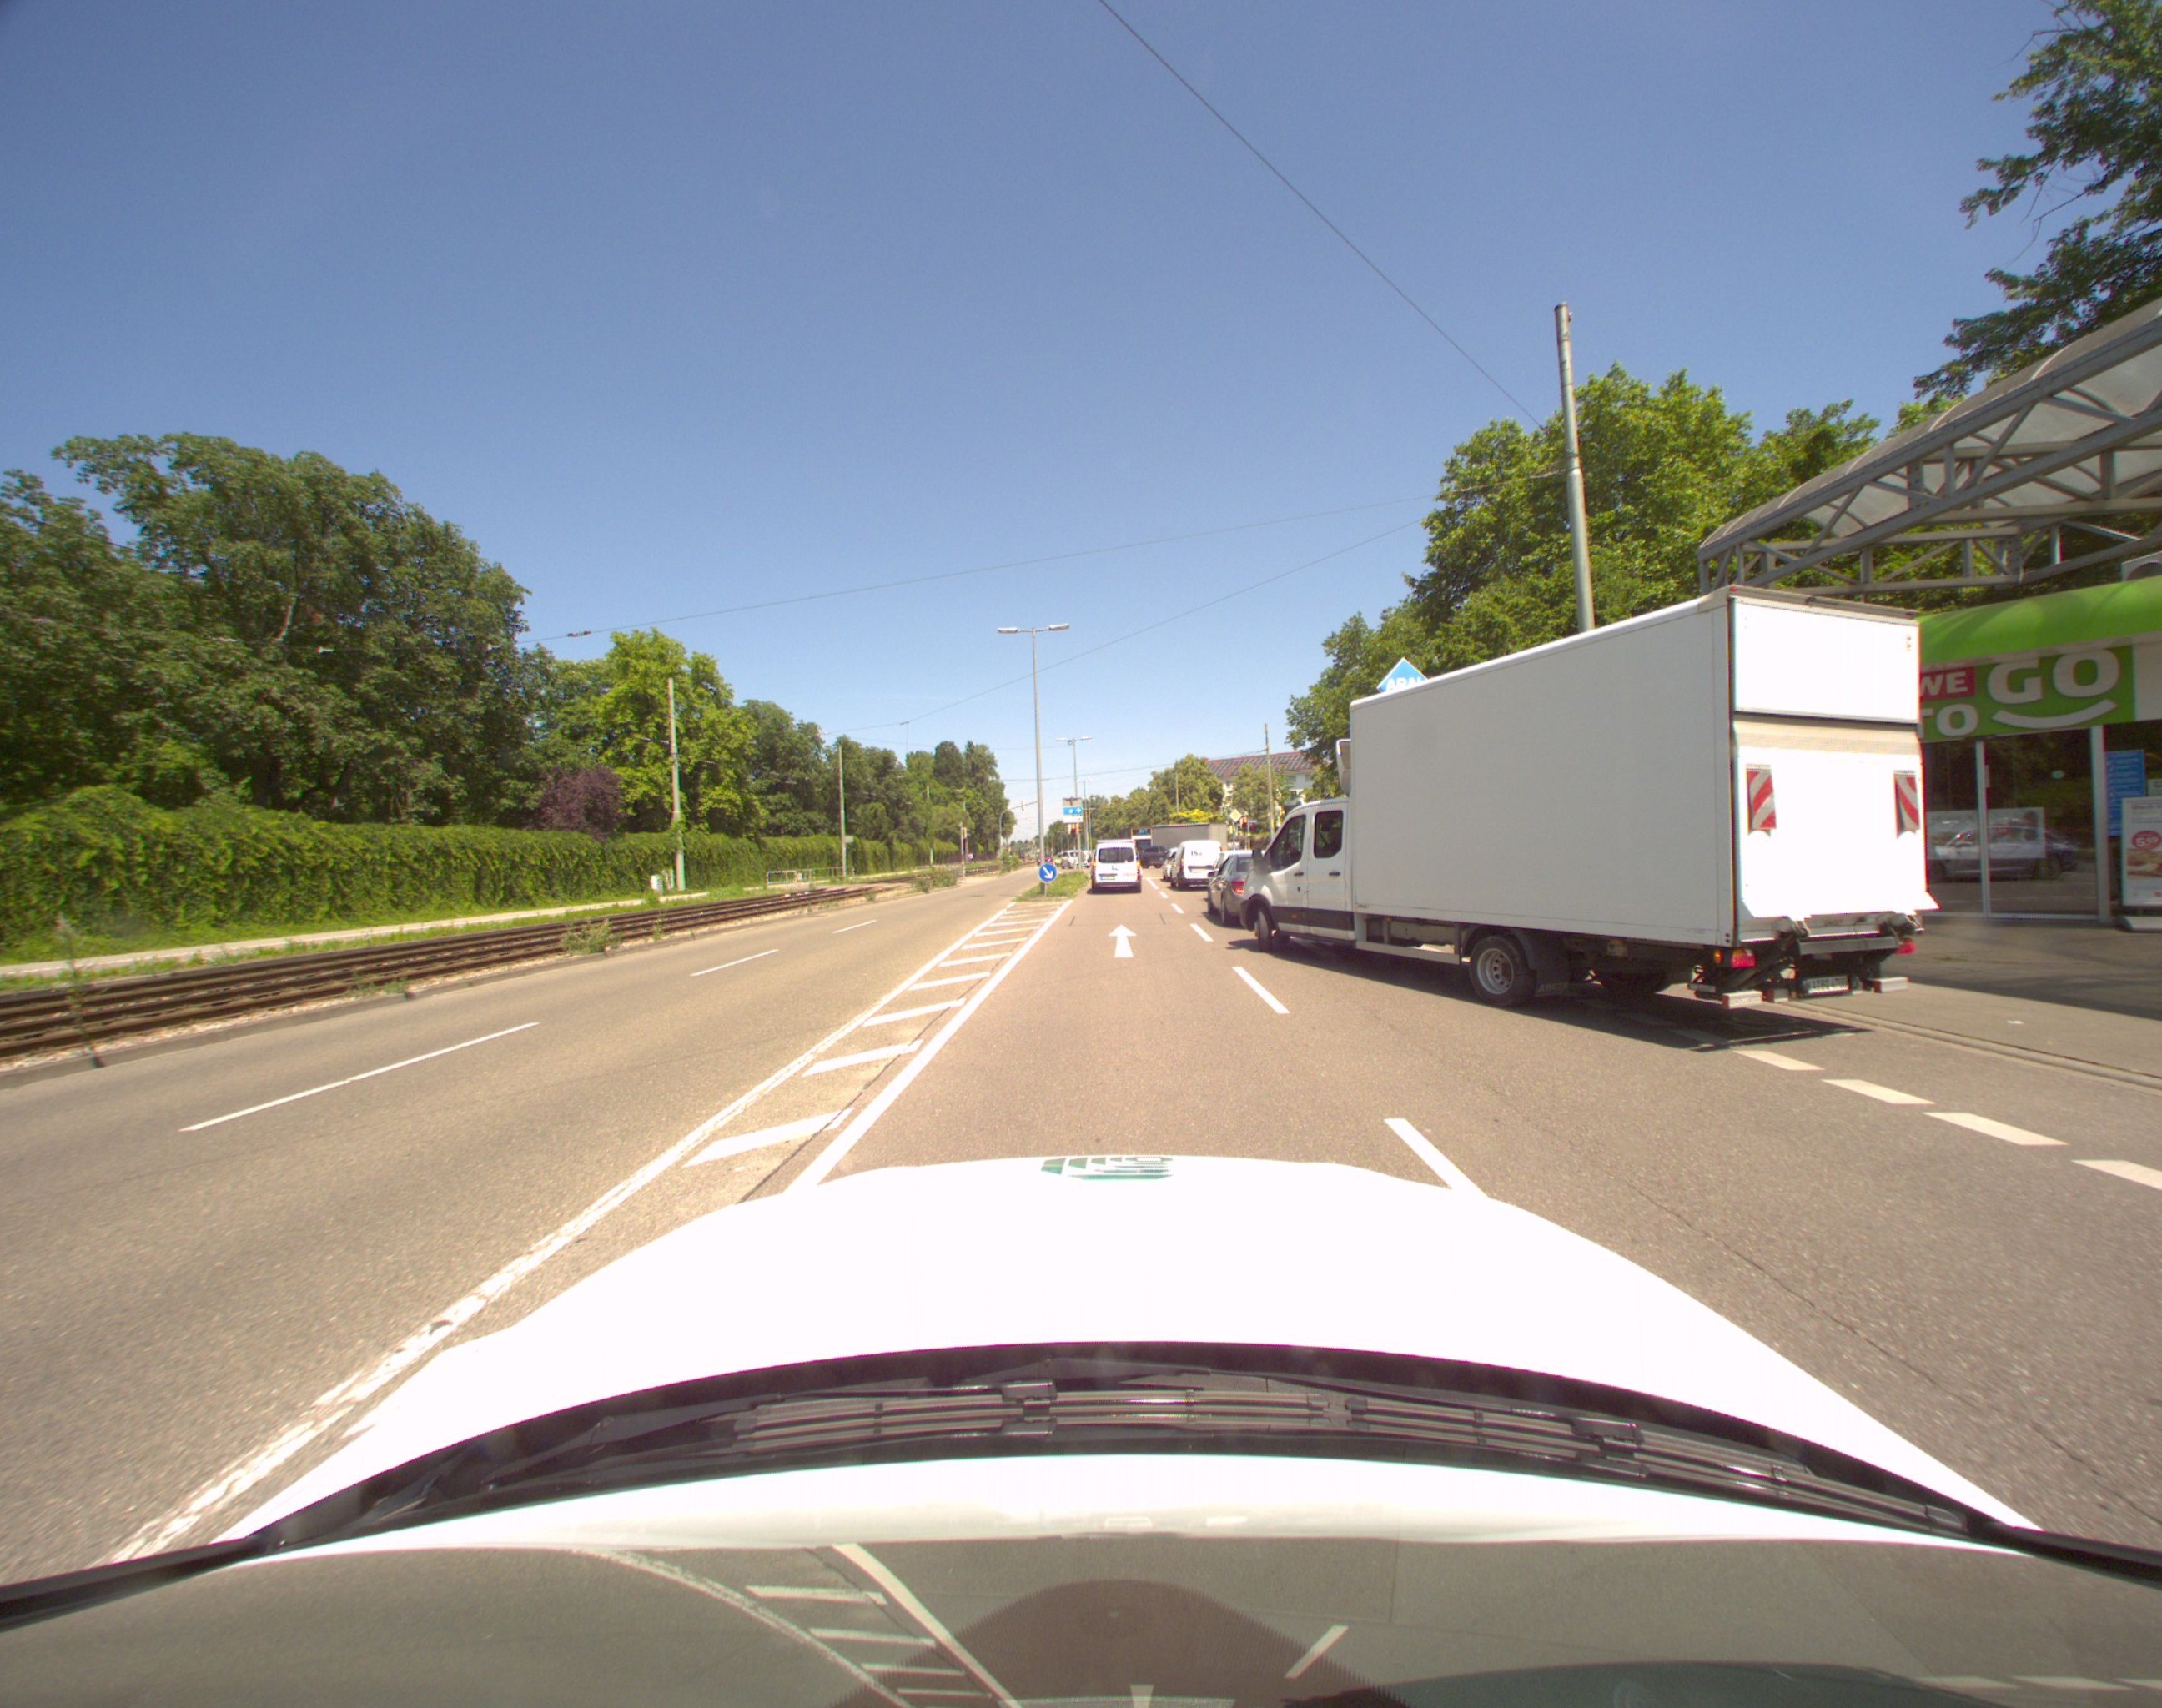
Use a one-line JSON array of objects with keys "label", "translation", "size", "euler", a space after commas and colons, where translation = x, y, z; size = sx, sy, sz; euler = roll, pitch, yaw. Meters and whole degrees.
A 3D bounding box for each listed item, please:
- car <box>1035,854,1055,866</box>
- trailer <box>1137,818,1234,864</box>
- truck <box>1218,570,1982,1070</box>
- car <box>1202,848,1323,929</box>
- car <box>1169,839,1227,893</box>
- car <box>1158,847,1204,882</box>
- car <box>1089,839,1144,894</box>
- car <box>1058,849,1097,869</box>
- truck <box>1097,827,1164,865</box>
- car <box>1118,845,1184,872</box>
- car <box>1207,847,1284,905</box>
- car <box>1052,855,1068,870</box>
[{"label": "car", "translation": [-4.493, 0.730, 102.565], "size": [1.975, 1.358, 4.542], "euler": [-2, 0, 3]}, {"label": "trailer", "translation": [9.958, -1.176, 78.231], "size": [3.559, 4.050, 8.867], "euler": [-2, 0, -43]}, {"label": "truck", "translation": [4.564, -0.239, 9.610], "size": [2.426, 3.391, 7.786], "euler": [-2, 0, -18]}, {"label": "car", "translation": [3.707, 0.644, 17.382], "size": [1.788, 1.449, 4.421], "euler": [-2, 0, 3]}, {"label": "car", "translation": [4.282, 0.414, 30.320], "size": [1.703, 1.830, 4.016], "euler": [-2, 0, 3]}, {"label": "car", "translation": [4.634, 0.460, 38.102], "size": [1.749, 1.486, 4.002], "euler": [-2, 0, 2]}, {"label": "car", "translation": [1.256, 0.409, 29.611], "size": [1.860, 1.836, 3.850], "euler": [-1, 0, 1]}, {"label": "car", "translation": [-0.331, 0.440, 71.878], "size": [2.001, 1.617, 4.424], "euler": [-2, 0, -20]}, {"label": "truck", "translation": [5.031, -0.744, 85.614], "size": [3.590, 3.632, 8.744], "euler": [-2, 0, -22]}, {"label": "car", "translation": [5.161, 0.337, 59.951], "size": [4.489, 1.829, 2.009], "euler": [-2, 0, 17]}, {"label": "car", "translation": [4.476, 0.576, 22.610], "size": [1.600, 1.451, 3.523], "euler": [0, 0, 3]}, {"label": "car", "translation": [-2.153, 0.869, 84.231], "size": [1.535, 1.379, 4.000], "euler": [-2, 0, -2]}]
